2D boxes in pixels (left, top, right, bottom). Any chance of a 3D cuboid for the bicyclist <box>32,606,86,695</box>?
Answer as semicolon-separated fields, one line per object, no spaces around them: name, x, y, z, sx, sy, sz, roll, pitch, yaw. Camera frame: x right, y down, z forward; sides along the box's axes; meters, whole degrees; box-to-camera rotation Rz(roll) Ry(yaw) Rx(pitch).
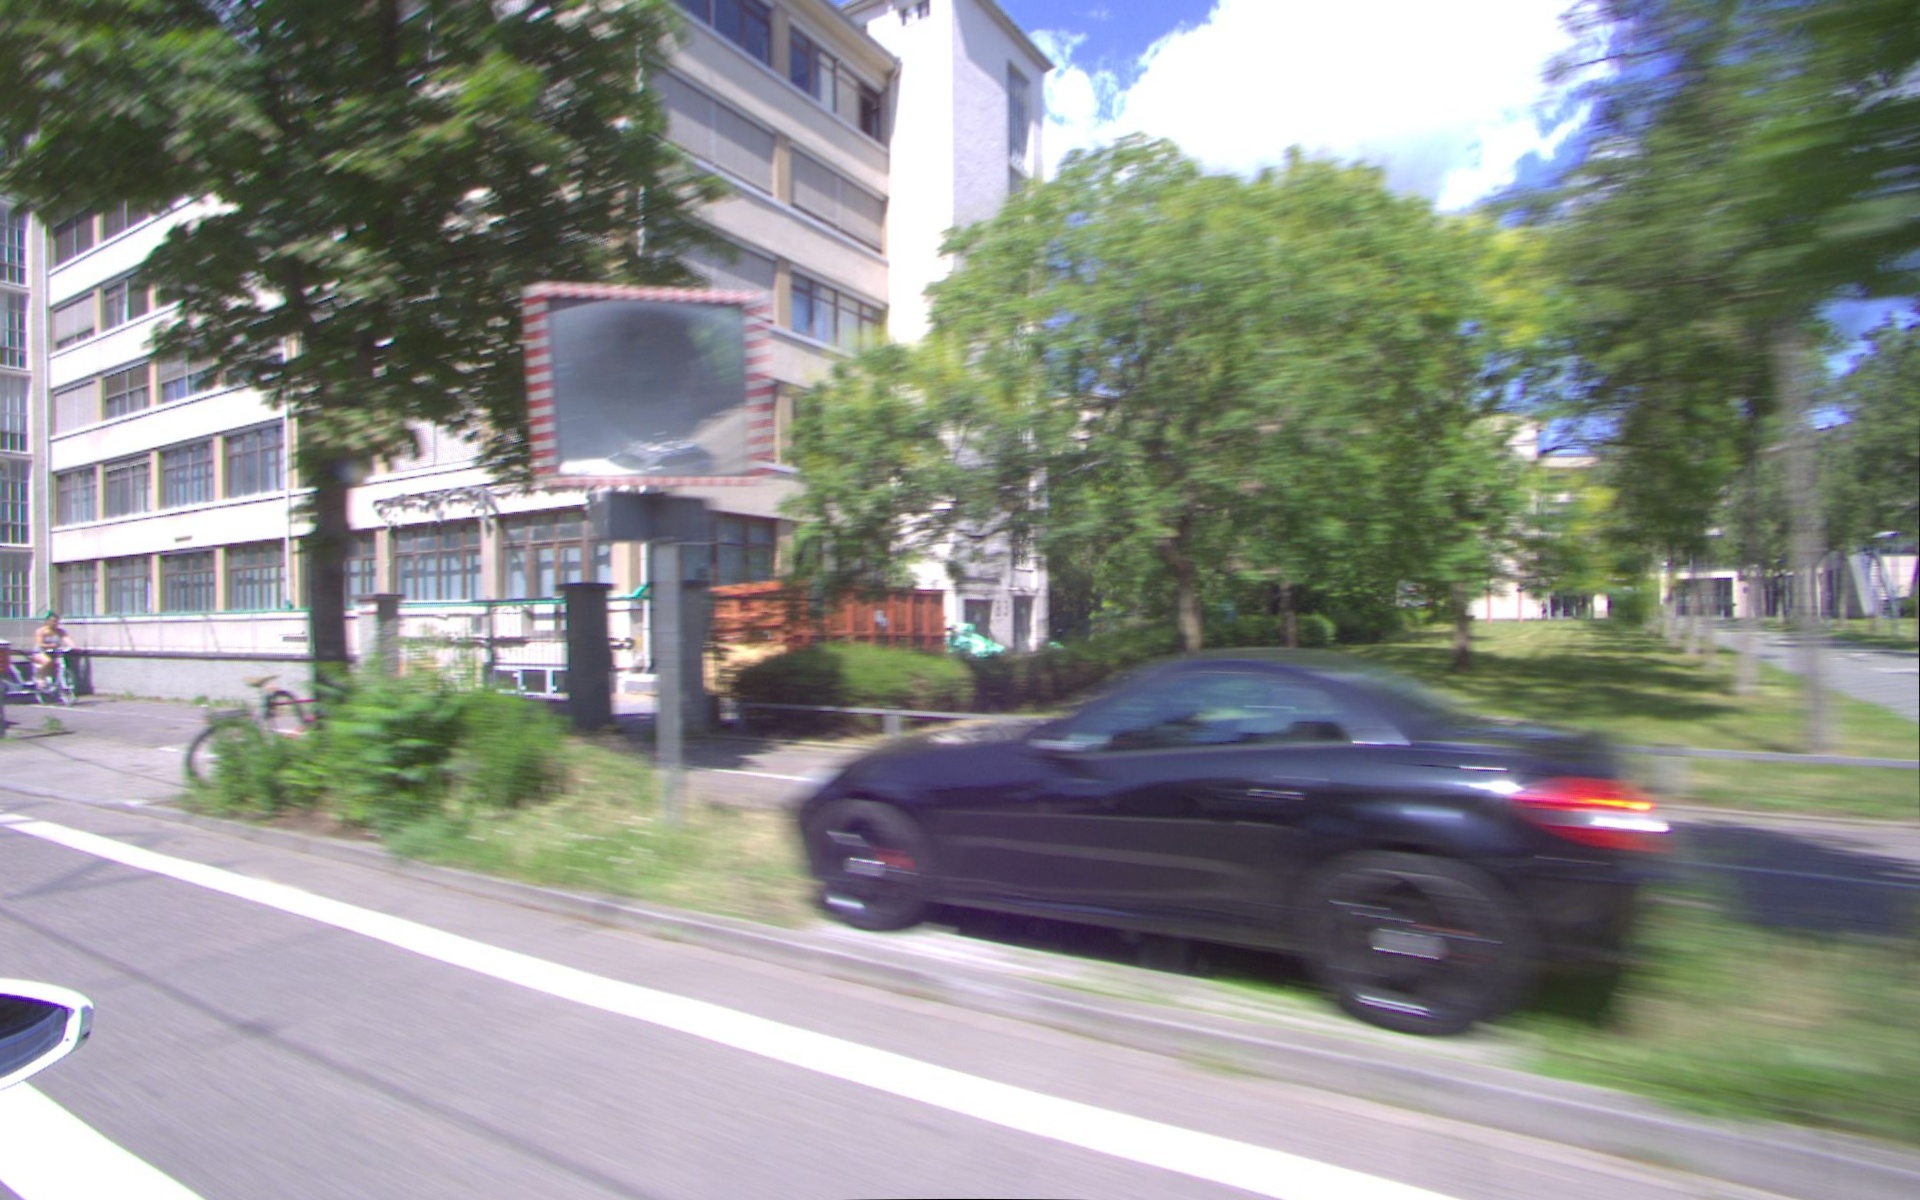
bicyclist;-17.372;0.959;19.306;0.591;1.670;0.579;0;2;32

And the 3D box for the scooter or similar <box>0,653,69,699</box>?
scooter or similar;-18.851;1.524;20.294;1.533;0.818;0.760;-1;1;32

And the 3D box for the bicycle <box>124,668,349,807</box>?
bicycle;-6.550;1.201;9.153;0.554;1.074;1.583;-1;-1;30

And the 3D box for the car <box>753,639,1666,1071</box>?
car;1.006;0.844;4.805;3.779;1.286;1.749;-1;-2;32

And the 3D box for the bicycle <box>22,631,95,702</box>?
bicycle;-17.469;1.264;19.393;1.748;1.283;0.553;-1;2;32
